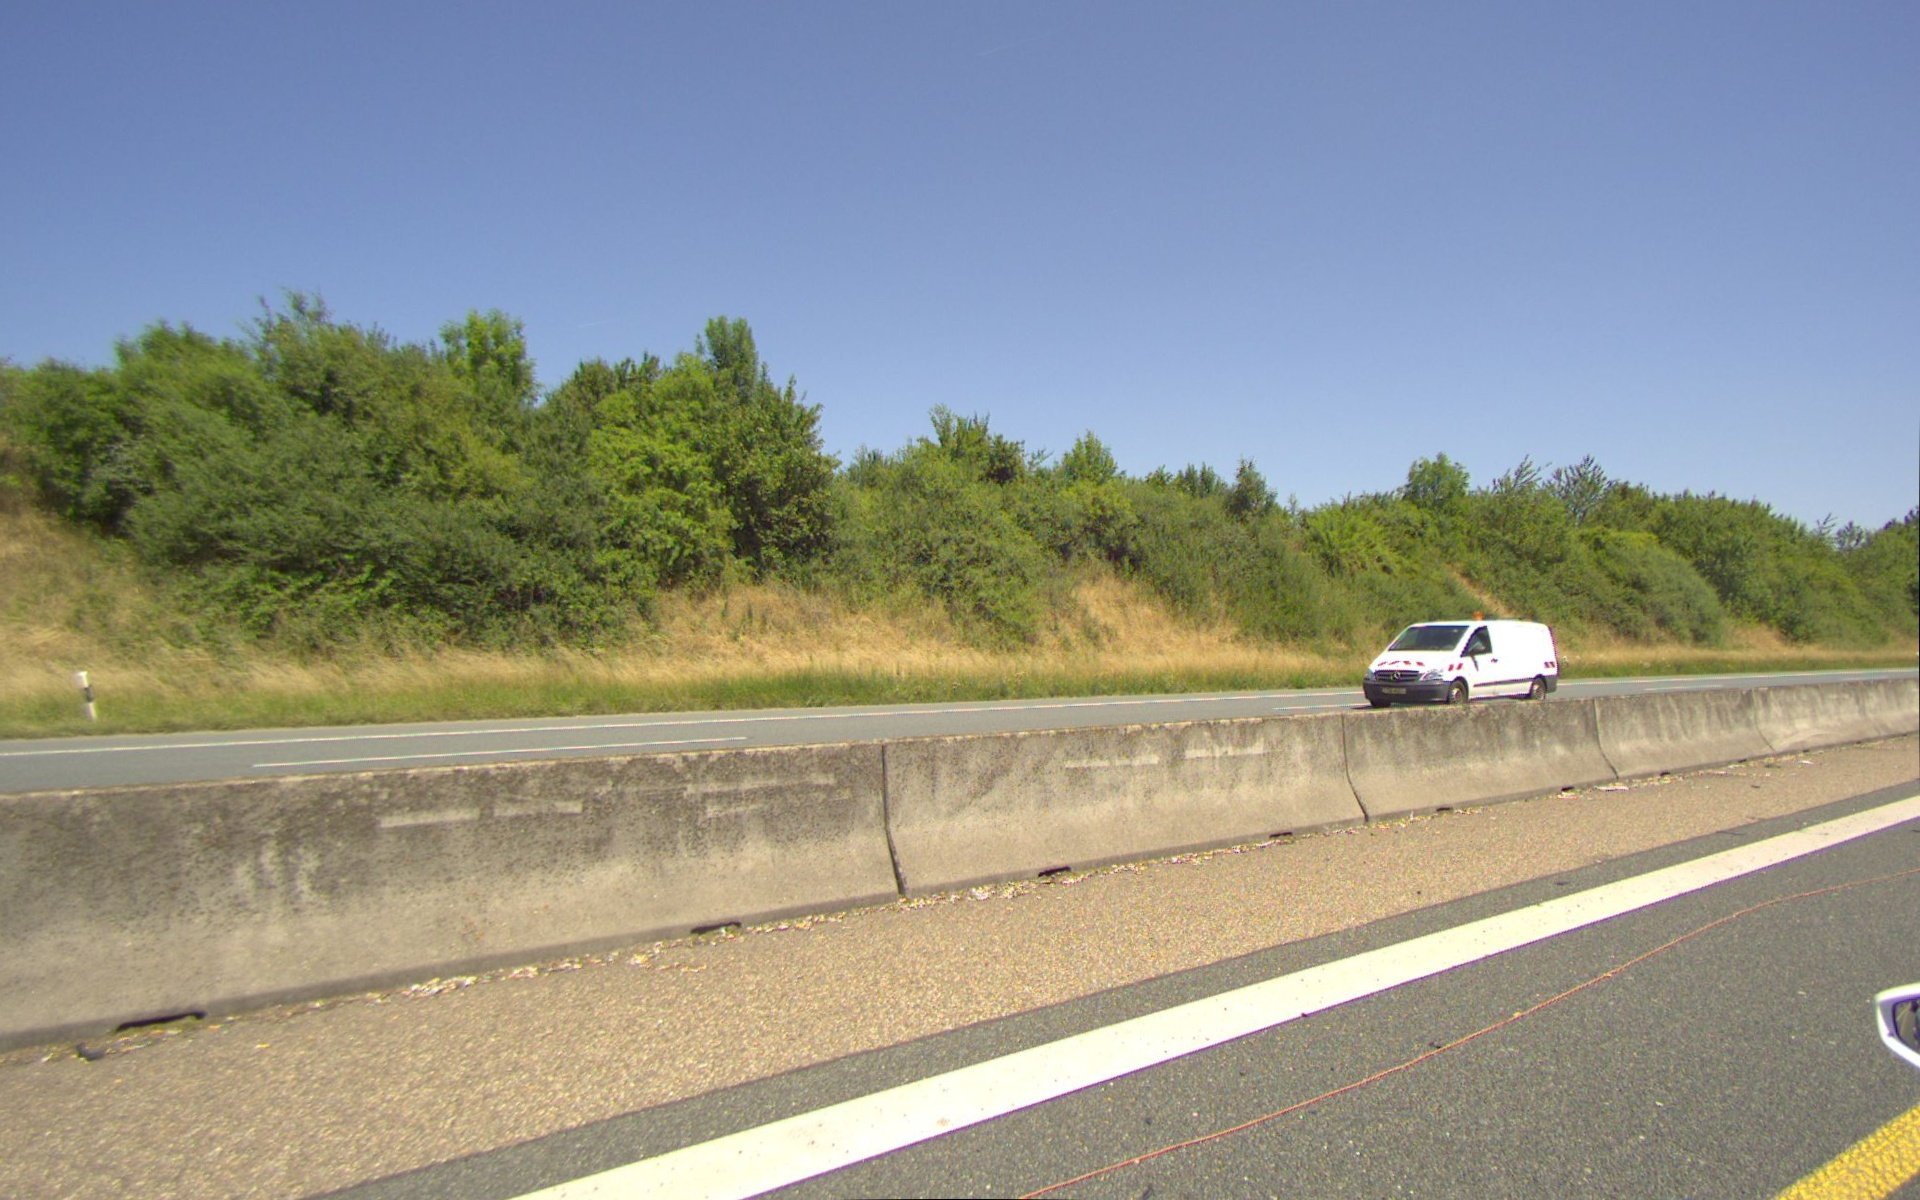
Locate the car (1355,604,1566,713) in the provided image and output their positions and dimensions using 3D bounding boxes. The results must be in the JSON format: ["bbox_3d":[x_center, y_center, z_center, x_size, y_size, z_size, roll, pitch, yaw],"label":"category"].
[{"bbox_3d":[10.861,1.217,21.669,4.887,2.112,1.951,2,-2,-34],"label":"car"}]
